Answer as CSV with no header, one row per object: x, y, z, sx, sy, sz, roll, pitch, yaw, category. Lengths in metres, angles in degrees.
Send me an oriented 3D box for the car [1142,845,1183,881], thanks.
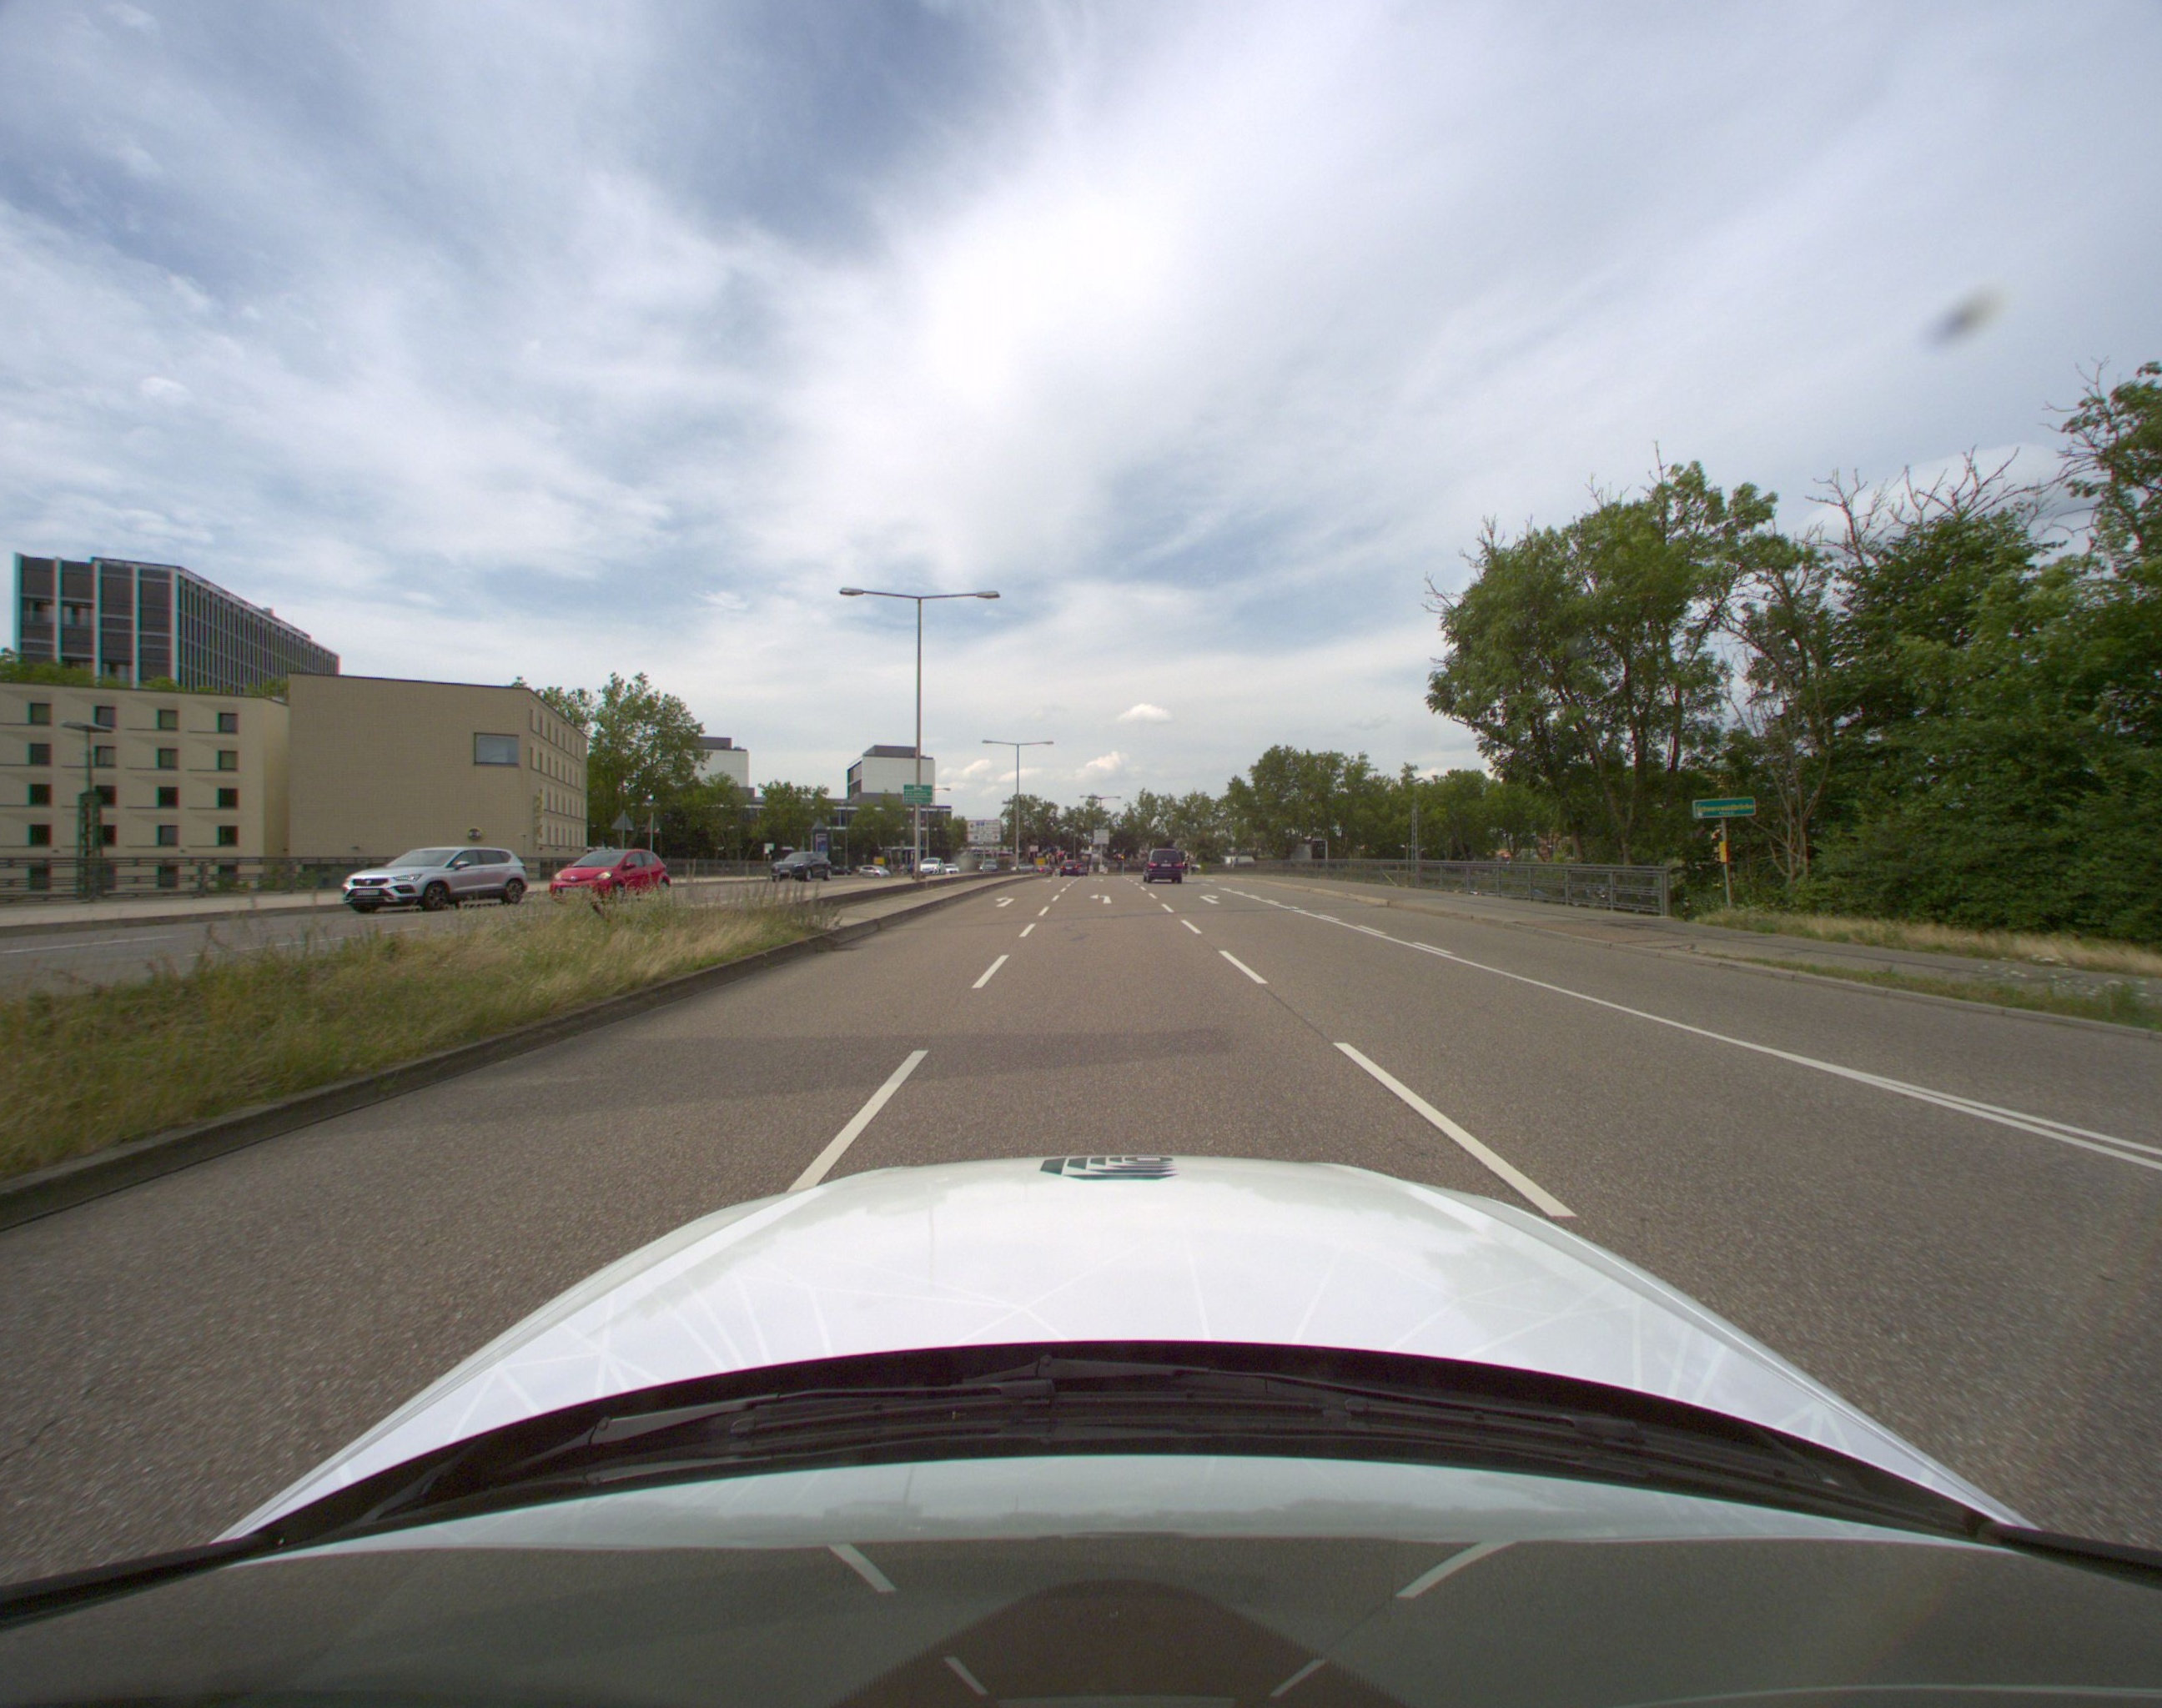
4.160,0.515,41.953,1.744,1.725,4.137,1,-2,1,car

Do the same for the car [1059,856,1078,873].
-1.222,1.027,77.477,1.752,1.575,4.033,0,0,-2,car

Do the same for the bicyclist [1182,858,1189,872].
12.600,1.375,98.461,0.807,1.696,1.117,-1,-1,4,bicyclist

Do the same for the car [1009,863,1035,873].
-9.545,2.302,131.248,3.859,1.410,1.611,-1,-2,-19,car

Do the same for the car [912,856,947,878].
-11.609,1.006,62.731,1.881,1.640,4.217,0,-1,0,car

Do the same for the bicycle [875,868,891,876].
-24.418,2.242,100.545,0.620,1.013,1.918,-1,-1,44,bicycle

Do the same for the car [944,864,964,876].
-15.806,2.022,101.332,1.922,1.415,4.855,-2,-1,-16,car

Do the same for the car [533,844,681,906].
-12.854,0.538,22.376,1.717,1.532,3.918,0,-1,1,car

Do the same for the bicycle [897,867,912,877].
-22.687,2.289,104.733,1.905,1.210,0.639,0,-1,-17,bicycle

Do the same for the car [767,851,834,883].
-15.340,0.714,44.793,1.879,1.640,4.548,0,-1,3,car

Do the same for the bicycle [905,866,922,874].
-21.047,2.032,102.251,0.801,0.952,2.249,-2,-1,33,bicycle

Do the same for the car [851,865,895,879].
-24.158,2.082,94.583,4.821,1.526,1.936,-2,-1,25,car

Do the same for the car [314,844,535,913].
-16.229,0.575,20.514,1.880,1.532,4.453,0,0,1,car

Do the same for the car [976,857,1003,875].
-8.519,1.092,76.140,1.880,1.640,4.586,0,-1,1,car

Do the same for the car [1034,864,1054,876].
-4.689,1.996,103.075,1.819,1.414,4.757,0,-1,-11,car

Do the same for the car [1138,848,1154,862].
8.182,0.138,102.208,1.685,1.585,4.155,1,-2,1,car

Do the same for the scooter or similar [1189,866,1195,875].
14.152,2.077,103.652,0.396,1.183,1.277,-1,-2,-6,scooter or similar

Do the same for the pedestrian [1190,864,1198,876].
16.119,2.313,116.124,1.040,1.710,0.856,0,-1,11,pedestrian

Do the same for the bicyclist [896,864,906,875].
-22.808,1.977,103.042,0.639,1.436,1.124,-1,0,33,bicyclist

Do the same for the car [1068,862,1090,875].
-0.283,1.853,100.492,1.743,1.546,4.062,0,-1,-13,car

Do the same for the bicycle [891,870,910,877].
-22.832,2.428,102.980,0.695,0.890,2.608,-1,-1,33,bicycle

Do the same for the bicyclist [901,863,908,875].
-22.695,1.938,104.722,0.781,1.581,0.651,0,-1,-17,bicyclist

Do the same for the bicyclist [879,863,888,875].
-24.393,1.827,100.596,0.620,1.529,0.846,-1,-1,44,bicyclist

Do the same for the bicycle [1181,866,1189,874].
12.621,1.878,98.564,0.805,0.952,2.238,-1,-1,5,bicycle

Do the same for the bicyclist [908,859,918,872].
-21.092,1.457,102.230,0.801,1.656,0.889,-2,-1,32,bicyclist
